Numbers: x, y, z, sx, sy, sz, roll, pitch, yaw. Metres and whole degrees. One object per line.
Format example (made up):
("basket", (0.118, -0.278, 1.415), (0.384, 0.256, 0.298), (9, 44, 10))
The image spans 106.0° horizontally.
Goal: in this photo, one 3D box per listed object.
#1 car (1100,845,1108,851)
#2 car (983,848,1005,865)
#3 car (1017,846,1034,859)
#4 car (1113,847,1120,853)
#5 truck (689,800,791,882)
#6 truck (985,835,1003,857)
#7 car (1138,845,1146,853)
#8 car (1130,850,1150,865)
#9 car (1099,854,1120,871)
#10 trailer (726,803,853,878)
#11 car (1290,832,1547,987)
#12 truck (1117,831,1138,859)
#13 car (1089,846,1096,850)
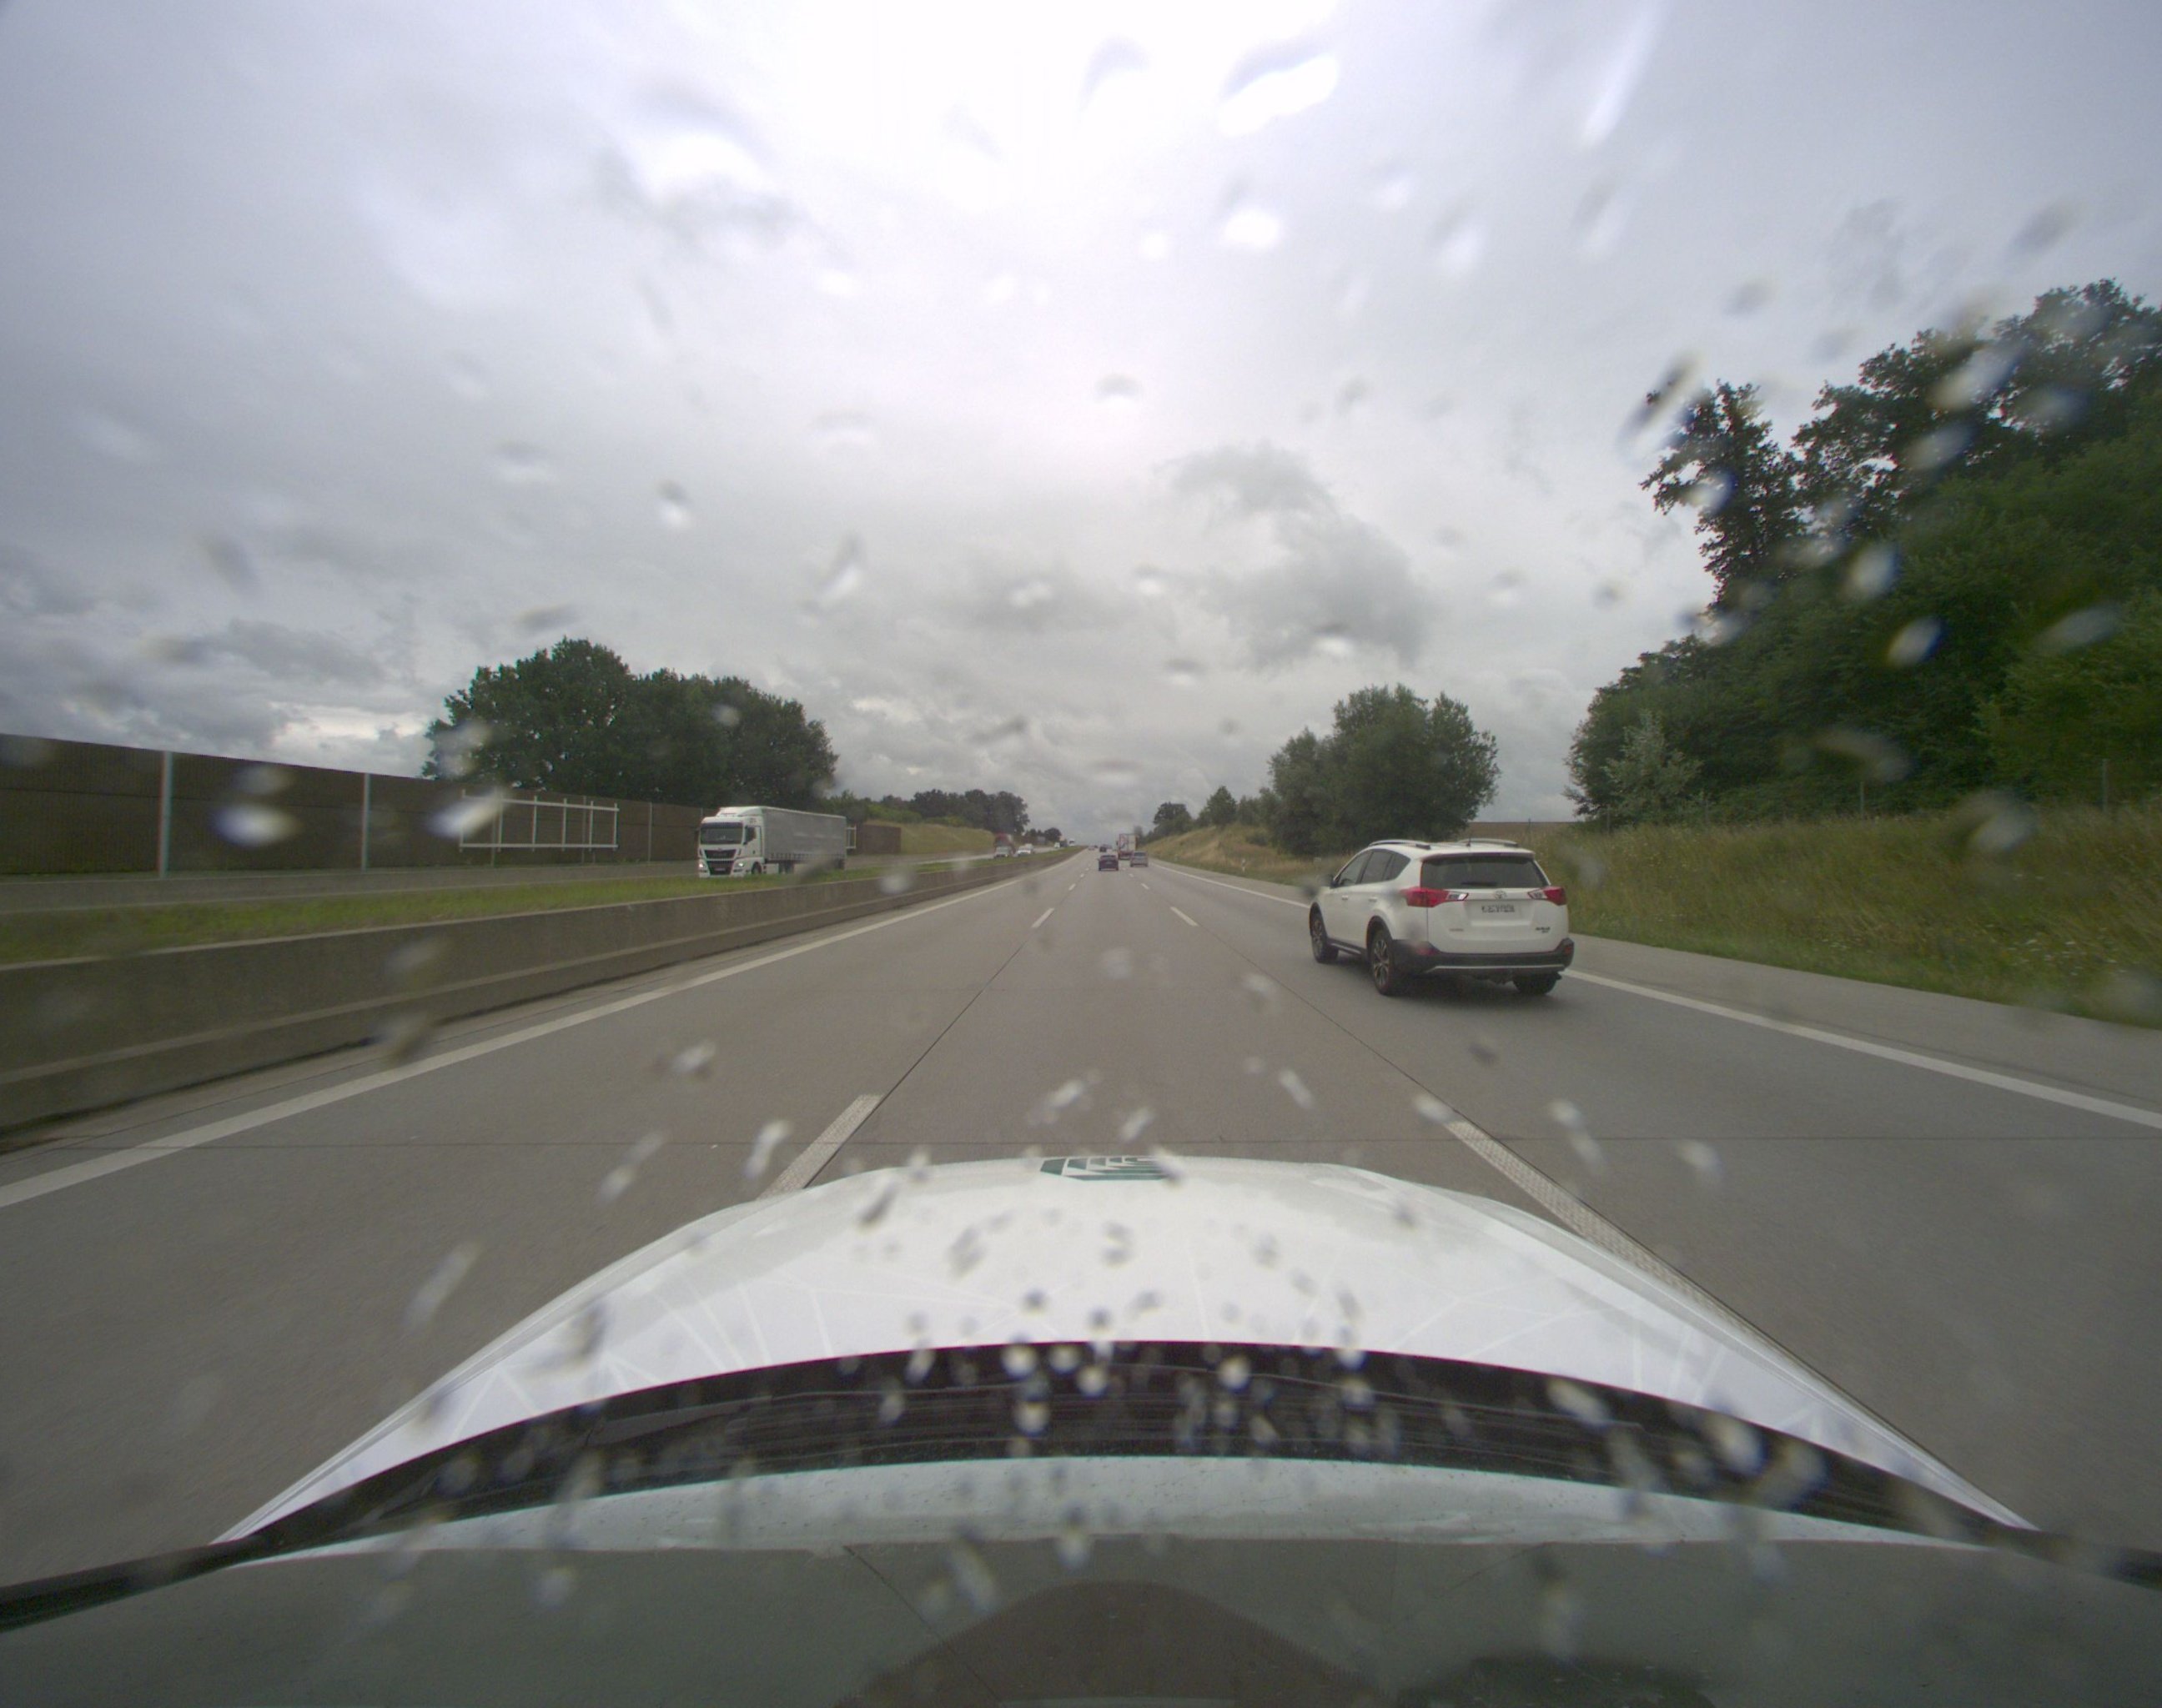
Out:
("car", (5.868, -1.462, 211.432), (1.927, 1.375, 4.597), (0, -1, 3))
("car", (-10.530, 0.279, 98.712), (1.986, 1.919, 5.347), (0, 1, 1))
("car", (-8.230, -0.190, 121.067), (1.986, 1.886, 5.514), (0, 0, 1))
("car", (10.629, -1.237, 244.745), (1.985, 1.640, 4.004), (0, 0, 4))
("truck", (-18.083, -0.654, 43.654), (2.673, 4.083, 6.218), (0, 0, 1))
("truck", (-16.845, -1.504, 157.918), (2.543, 4.251, 7.464), (0, 0, 1))
("car", (15.302, -1.204, 205.790), (1.985, 2.014, 4.004), (0, 0, 4))
("car", (6.106, 0.350, 84.634), (1.985, 1.530, 4.004), (0, 0, 4))
("car", (2.490, 0.757, 71.413), (1.746, 1.398, 4.484), (0, -1, 1))
("trailer", (-17.892, -0.704, 51.576), (2.687, 4.096, 14.008), (0, 0, 1))
("car", (4.147, 0.603, 10.764), (1.819, 1.655, 3.986), (0, 0, 1))
("truck", (7.259, -1.349, 128.278), (3.006, 4.180, 8.357), (0, 0, 2))
("car", (3.593, -1.853, 245.648), (1.939, 1.356, 4.262), (0, 0, 3))
